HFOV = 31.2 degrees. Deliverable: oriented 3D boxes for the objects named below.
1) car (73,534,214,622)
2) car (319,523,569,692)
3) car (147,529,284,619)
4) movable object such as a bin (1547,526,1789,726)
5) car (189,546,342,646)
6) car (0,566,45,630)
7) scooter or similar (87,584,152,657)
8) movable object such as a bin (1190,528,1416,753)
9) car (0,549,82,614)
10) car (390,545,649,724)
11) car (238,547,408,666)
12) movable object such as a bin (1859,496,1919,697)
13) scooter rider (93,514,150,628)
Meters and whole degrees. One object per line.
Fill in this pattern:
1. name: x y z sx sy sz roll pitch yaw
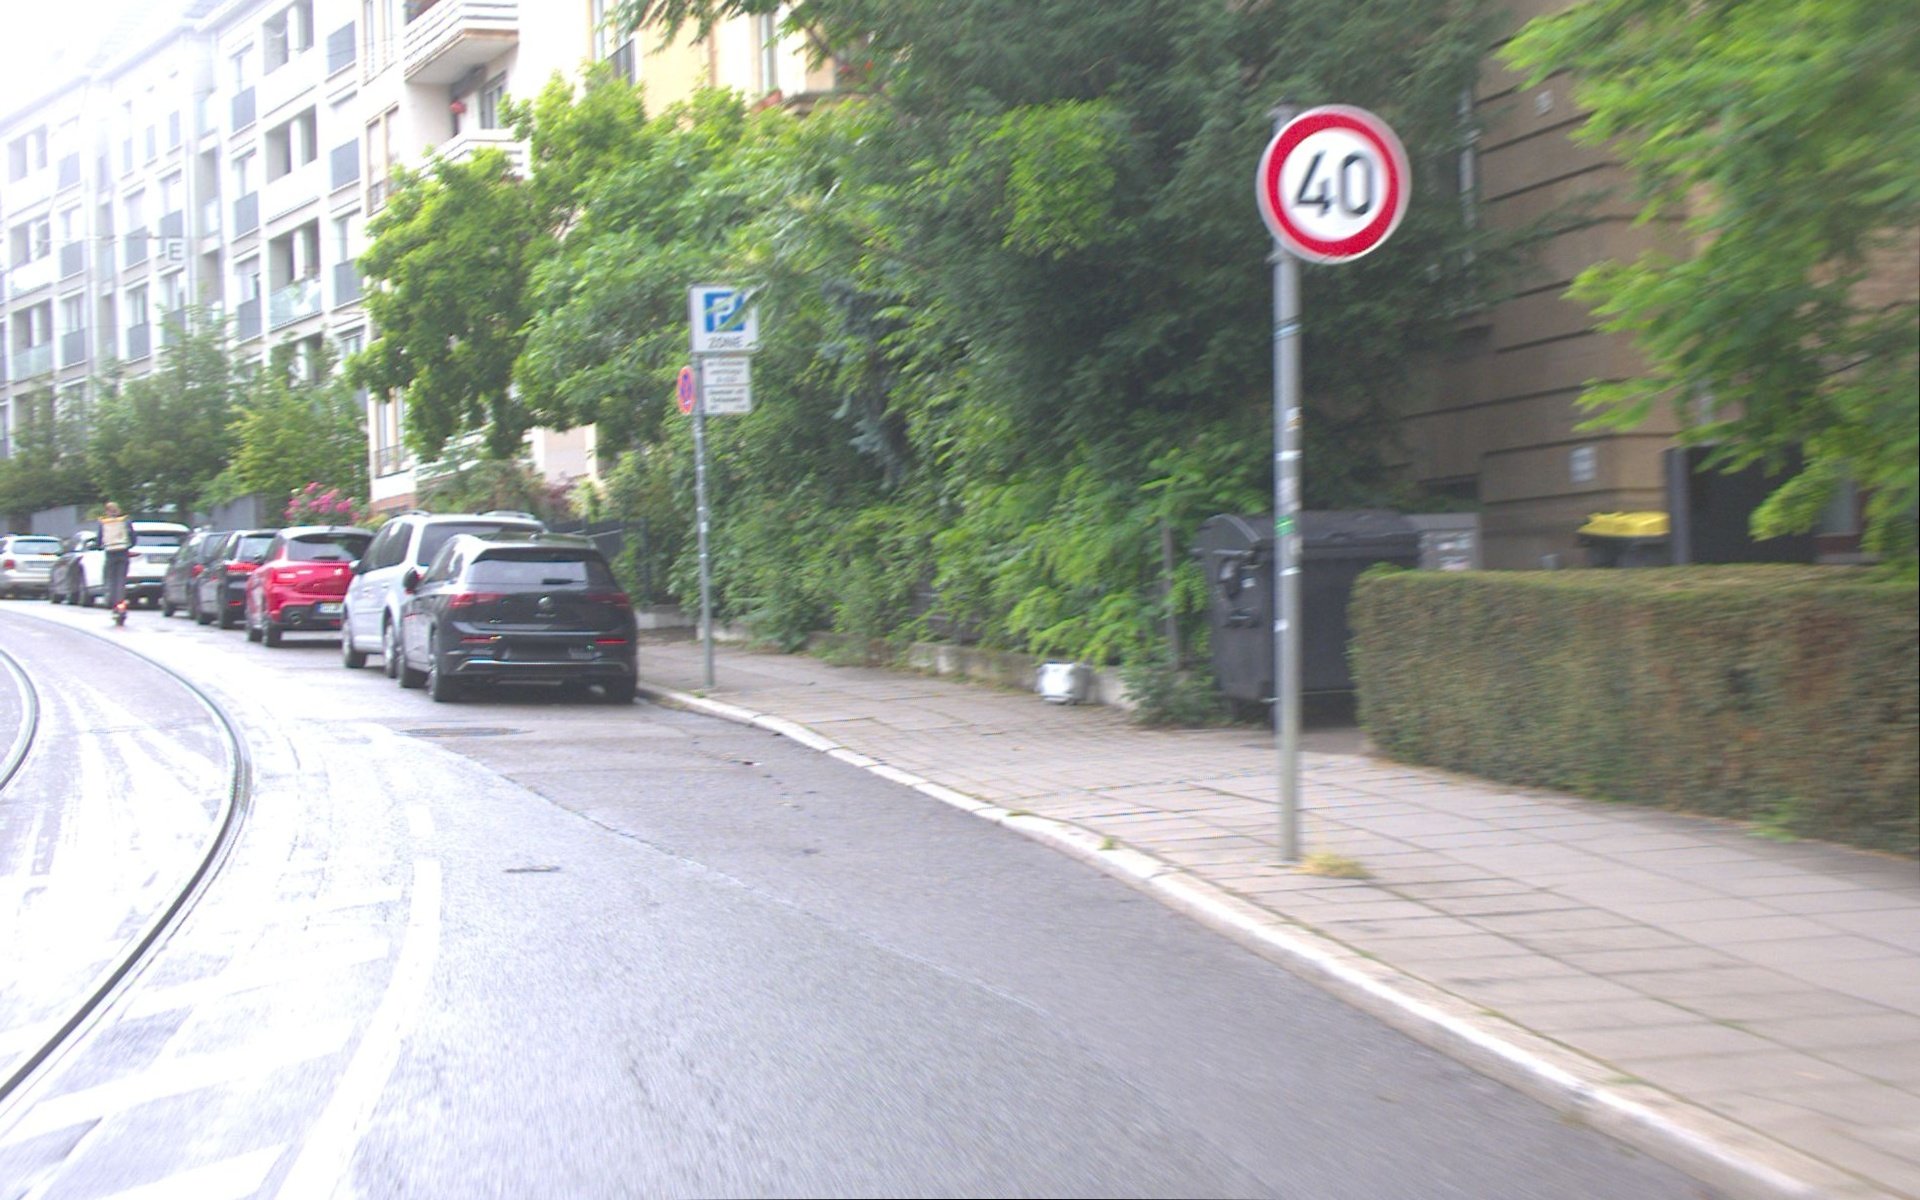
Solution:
1. car: -15.426 -0.428 64.816 1.837 1.567 4.249 1 0 -23
2. car: -5.414 0.047 35.665 1.765 1.598 4.289 -2 1 -19
3. car: -12.348 -0.455 56.855 1.556 1.432 4.305 0 1 -21
4. movable object such as a bin: 4.925 0.166 23.997 1.217 1.304 1.168 -3 1 -14
5. car: -10.383 -0.091 51.220 1.683 1.432 4.065 0 1 -19
6. car: -23.603 -0.074 83.987 1.701 1.507 3.715 0 1 -26
7. scooter or similar: -12.740 0.303 52.087 0.513 1.046 2.009 2 0 -26
8. movable object such as a bin: 2.298 0.255 23.061 1.225 1.398 0.823 -3 3 -21
9. car: -21.661 -0.416 79.901 1.661 1.466 4.509 0 0 -24
10. car: -3.994 0.252 30.639 1.765 1.386 4.002 0 2 -15
11. car: -8.139 0.044 43.718 1.721 1.432 3.842 0 1 -17
12. movable object such as a bin: 7.325 -0.053 24.532 1.230 1.420 1.308 -3 1 -14
13. scooter rider: -12.675 -0.442 51.948 0.623 1.700 0.844 2 0 -26
